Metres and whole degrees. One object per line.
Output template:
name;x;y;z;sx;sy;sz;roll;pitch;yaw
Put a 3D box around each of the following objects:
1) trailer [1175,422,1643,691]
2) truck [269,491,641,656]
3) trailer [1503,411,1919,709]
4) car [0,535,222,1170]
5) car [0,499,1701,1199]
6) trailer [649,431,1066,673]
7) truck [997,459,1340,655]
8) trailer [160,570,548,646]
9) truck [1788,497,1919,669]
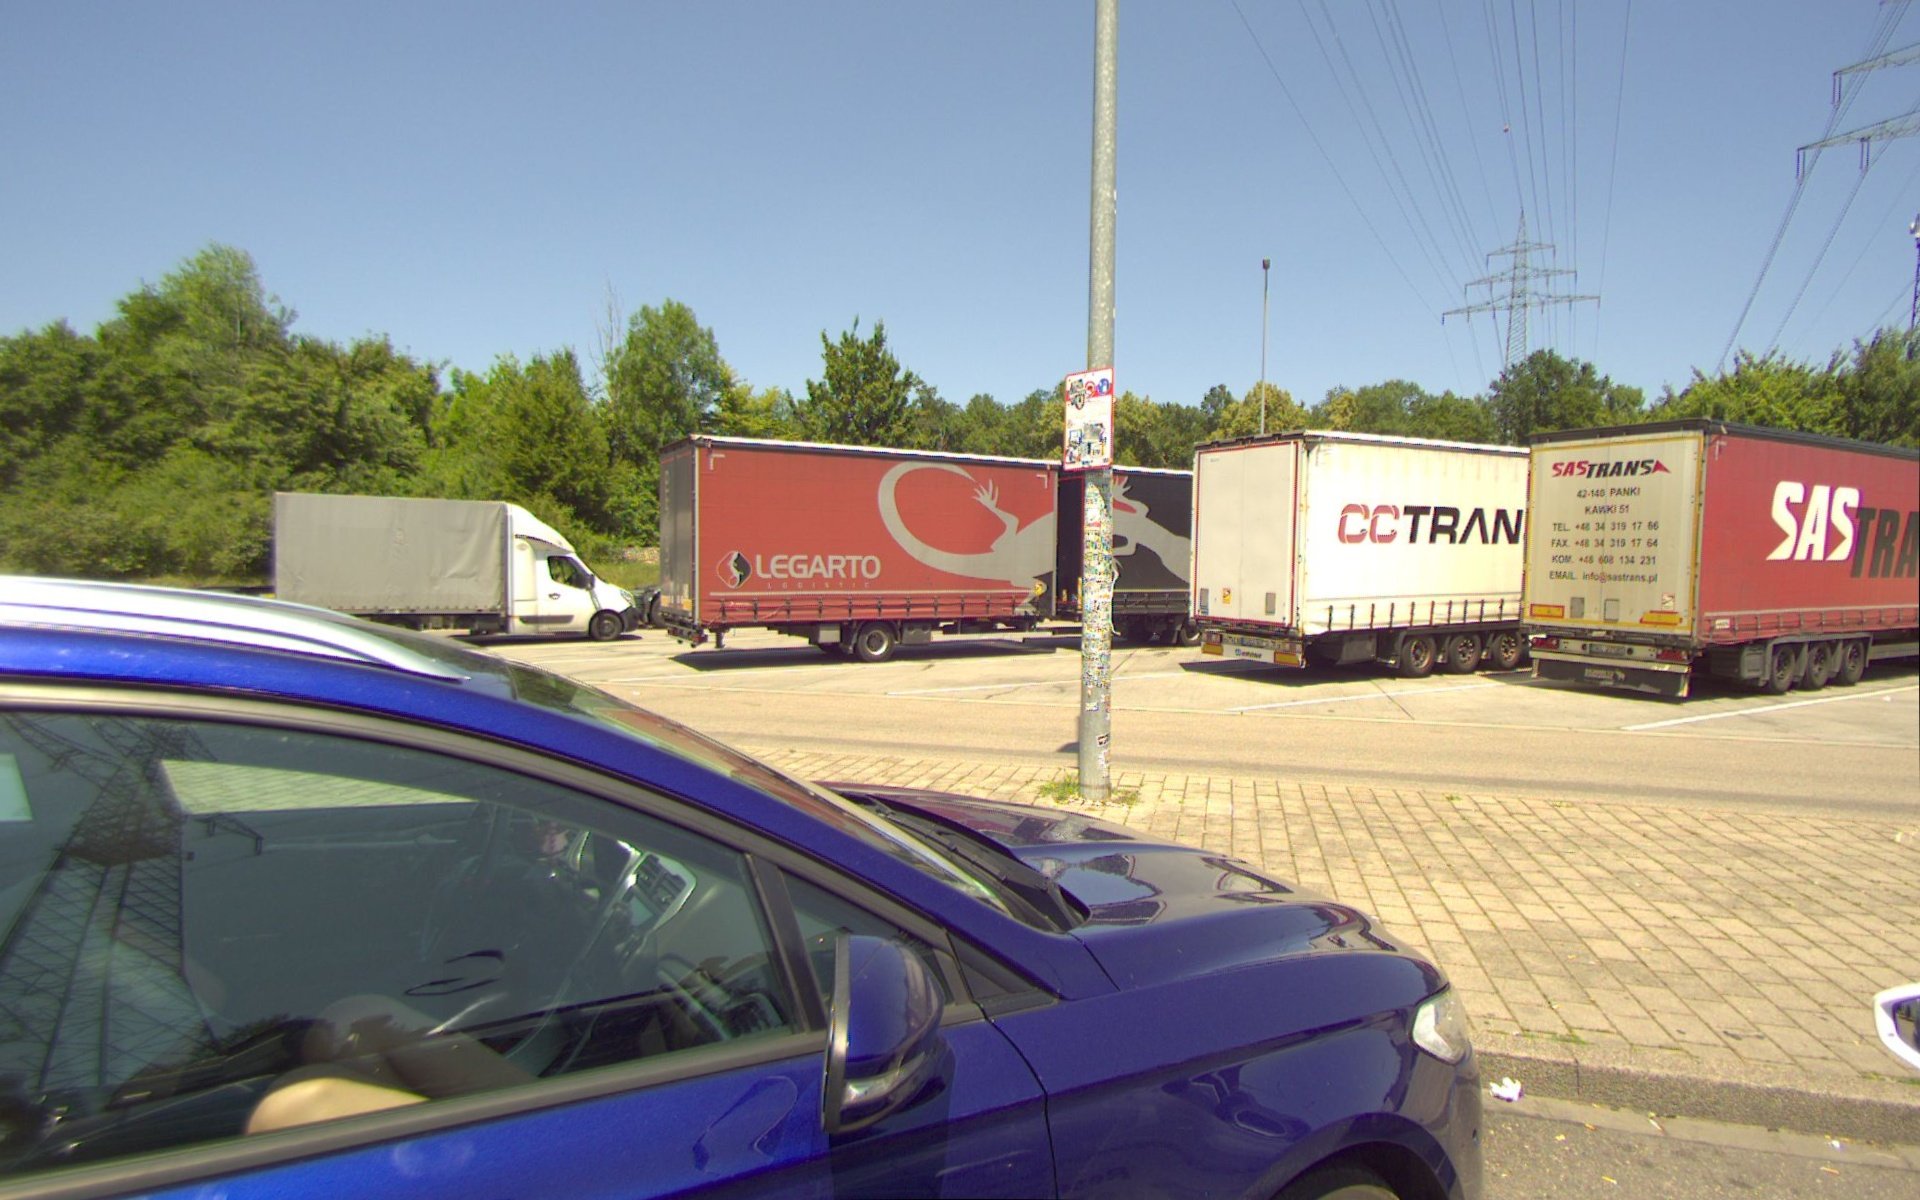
trailer;8.952;-0.768;19.333;10.264;4.158;2.693;-1;3;-30
truck;-11.259;-0.622;22.982;7.187;3.289;2.694;-1;3;-29
trailer;15.446;-0.674;18.600;13.599;4.127;2.807;-1;3;-31
car;-4.433;0.582;2.077;4.522;1.526;1.743;0;2;-32
car;-0.991;0.654;1.440;4.522;1.491;1.743;0;2;-32
trailer;-1.902;-0.902;20.319;8.007;4.127;2.693;-1;3;-30
truck;5.251;-0.997;24.528;8.586;4.127;2.693;-1;3;-30
trailer;-14.771;0.105;25.221;8.007;1.648;2.199;-1;3;-30
truck;21.238;-0.401;22.037;5.903;3.409;2.798;-1;3;-30
